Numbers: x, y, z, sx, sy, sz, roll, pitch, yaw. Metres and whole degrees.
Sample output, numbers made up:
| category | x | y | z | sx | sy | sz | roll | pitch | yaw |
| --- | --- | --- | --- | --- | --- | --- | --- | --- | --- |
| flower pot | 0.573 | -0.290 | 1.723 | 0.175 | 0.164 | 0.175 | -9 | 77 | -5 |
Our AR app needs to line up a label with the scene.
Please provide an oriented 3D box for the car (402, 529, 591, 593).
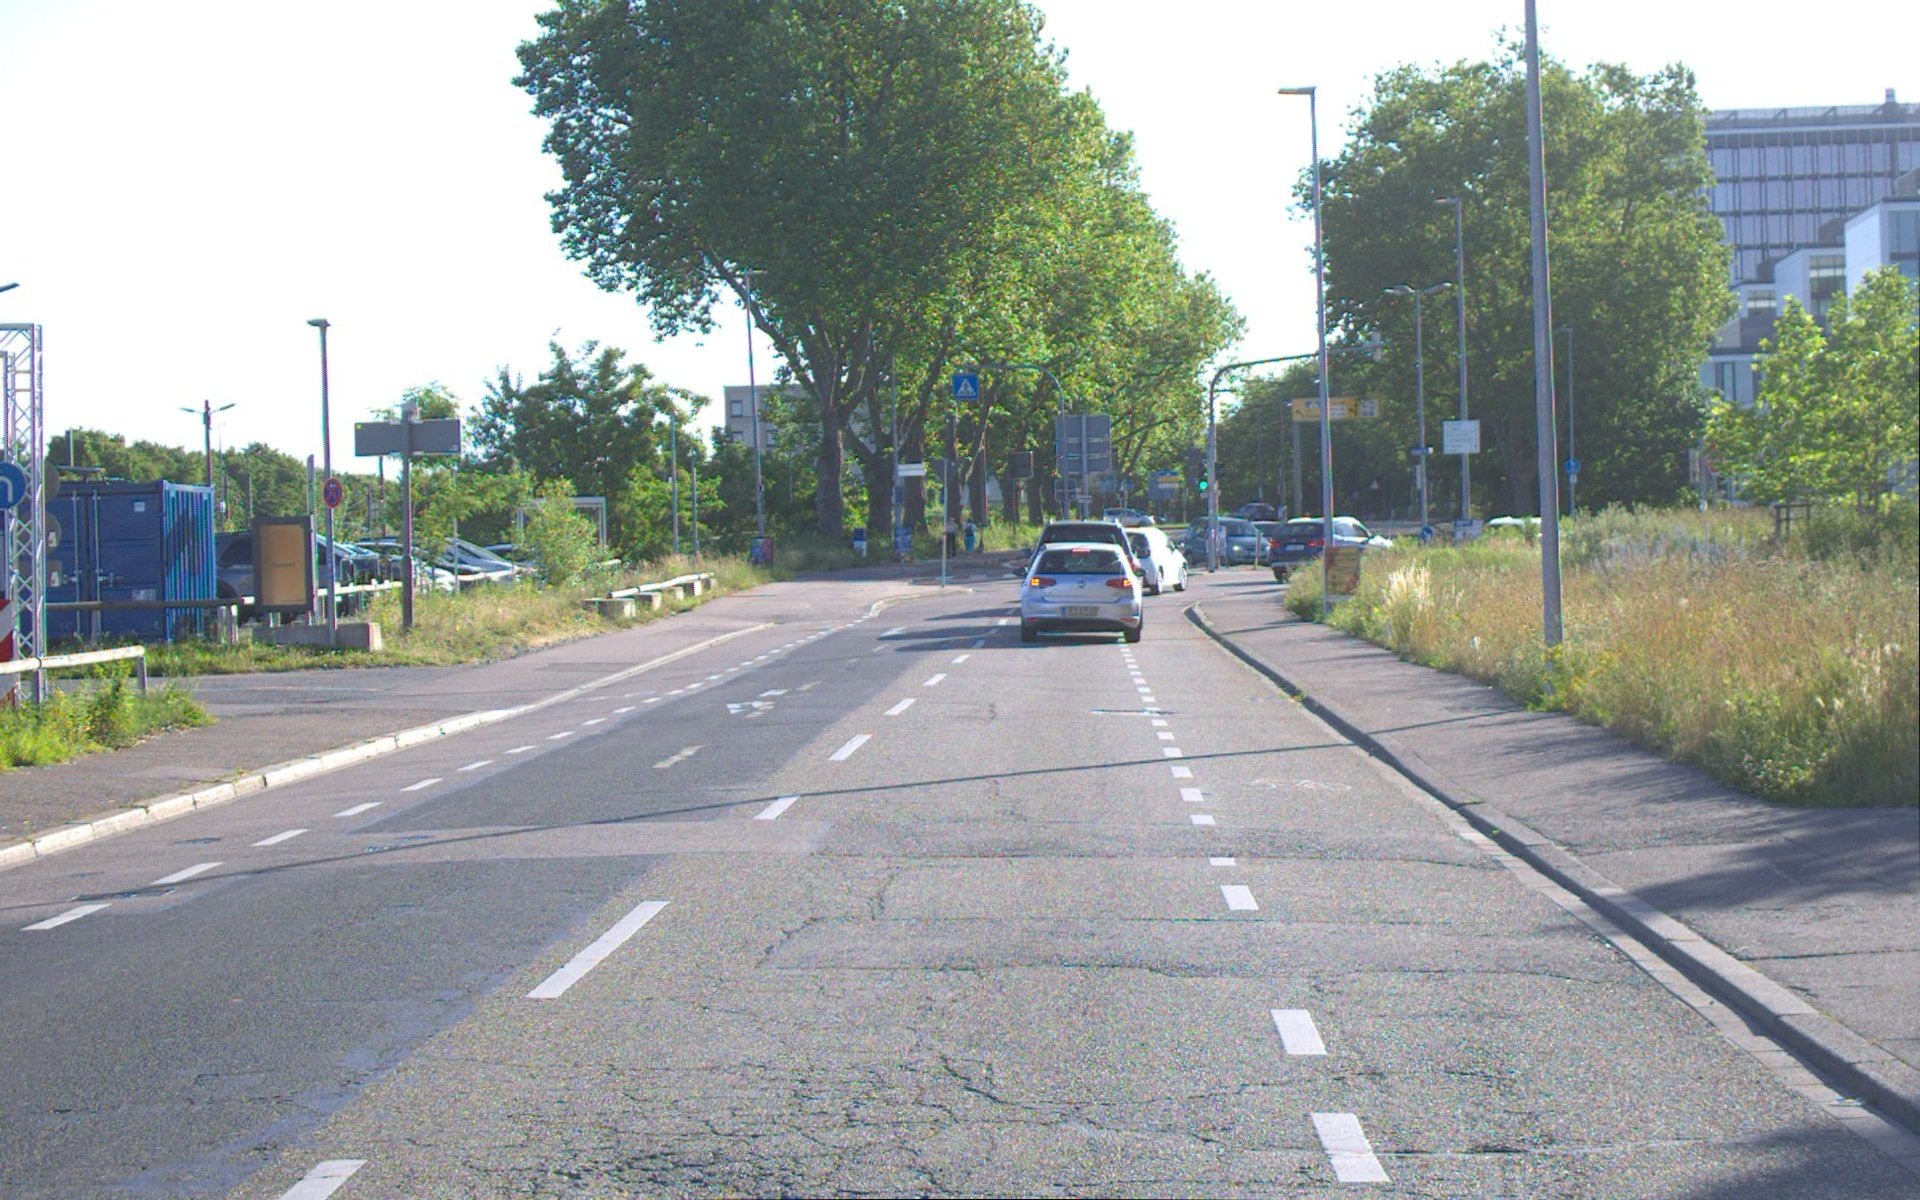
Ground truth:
| category | x | y | z | sx | sy | sz | roll | pitch | yaw |
| --- | --- | --- | --- | --- | --- | --- | --- | --- | --- |
| car | -11.545 | -0.982 | 85.809 | 4.425 | 1.552 | 1.878 | 0 | 1 | 2 |

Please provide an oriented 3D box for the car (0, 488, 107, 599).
| category | x | y | z | sx | sy | sz | roll | pitch | yaw |
| --- | --- | --- | --- | --- | --- | --- | --- | --- | --- |
| car | -21.883 | -1.269 | 77.043 | 4.926 | 2.451 | 2.320 | 0 | 1 | 2 |

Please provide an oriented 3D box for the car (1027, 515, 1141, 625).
| category | x | y | z | sx | sy | sz | roll | pitch | yaw |
| --- | --- | --- | --- | --- | --- | --- | --- | --- | --- |
| car | 2.099 | -0.536 | 57.726 | 1.819 | 1.762 | 4.629 | 0 | 1 | 3 |

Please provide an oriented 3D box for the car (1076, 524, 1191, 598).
| category | x | y | z | sx | sy | sz | roll | pitch | yaw |
| --- | --- | --- | --- | --- | --- | --- | --- | --- | --- |
| car | 3.890 | -0.888 | 76.489 | 1.899 | 1.590 | 3.998 | 0 | 1 | 13 |

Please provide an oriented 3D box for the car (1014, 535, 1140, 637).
| category | x | y | z | sx | sy | sz | roll | pitch | yaw |
| --- | --- | --- | --- | --- | --- | --- | --- | --- | --- |
| car | 1.757 | -0.238 | 50.966 | 1.790 | 1.415 | 4.000 | 0 | 1 | 3 |

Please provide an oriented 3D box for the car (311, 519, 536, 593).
| category | x | y | z | sx | sy | sz | roll | pitch | yaw |
| --- | --- | --- | --- | --- | --- | --- | --- | --- | --- |
| car | -11.588 | -0.957 | 74.504 | 4.542 | 1.552 | 1.878 | 0 | 1 | 2 |

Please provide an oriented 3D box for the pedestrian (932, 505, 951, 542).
| category | x | y | z | sx | sy | sz | roll | pitch | yaw |
| --- | --- | --- | --- | --- | --- | --- | --- | --- | --- |
| pedestrian | -0.728 | -2.968 | 133.945 | 0.678 | 1.410 | 0.684 | -1 | 1 | 3 |

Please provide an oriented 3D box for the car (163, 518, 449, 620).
| category | x | y | z | sx | sy | sz | roll | pitch | yaw |
| --- | --- | --- | --- | --- | --- | --- | --- | --- | --- |
| car | -12.014 | -0.580 | 63.316 | 4.845 | 1.828 | 2.000 | 0 | 1 | 2 |

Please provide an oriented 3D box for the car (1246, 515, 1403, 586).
| category | x | y | z | sx | sy | sz | roll | pitch | yaw |
| --- | --- | --- | --- | --- | --- | --- | --- | --- | --- |
| car | 9.142 | -1.254 | 85.992 | 2.168 | 1.678 | 3.992 | -1 | 1 | 36 |

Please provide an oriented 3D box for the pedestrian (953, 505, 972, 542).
| category | x | y | z | sx | sy | sz | roll | pitch | yaw |
| --- | --- | --- | --- | --- | --- | --- | --- | --- | --- |
| pedestrian | 0.114 | -2.971 | 133.837 | 0.678 | 1.410 | 0.684 | -1 | 1 | 3 |

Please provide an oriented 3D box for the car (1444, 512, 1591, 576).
| category | x | y | z | sx | sy | sz | roll | pitch | yaw |
| --- | --- | --- | --- | --- | --- | --- | --- | --- | --- |
| car | 15.462 | -1.563 | 95.226 | 2.169 | 1.678 | 3.990 | 0 | 1 | 42 |

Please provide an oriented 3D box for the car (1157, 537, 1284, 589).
| category | x | y | z | sx | sy | sz | roll | pitch | yaw |
| --- | --- | --- | --- | --- | --- | --- | --- | --- | --- |
| car | 8.354 | -1.207 | 110.589 | 1.994 | 1.590 | 4.000 | -1 | 2 | -35 |
